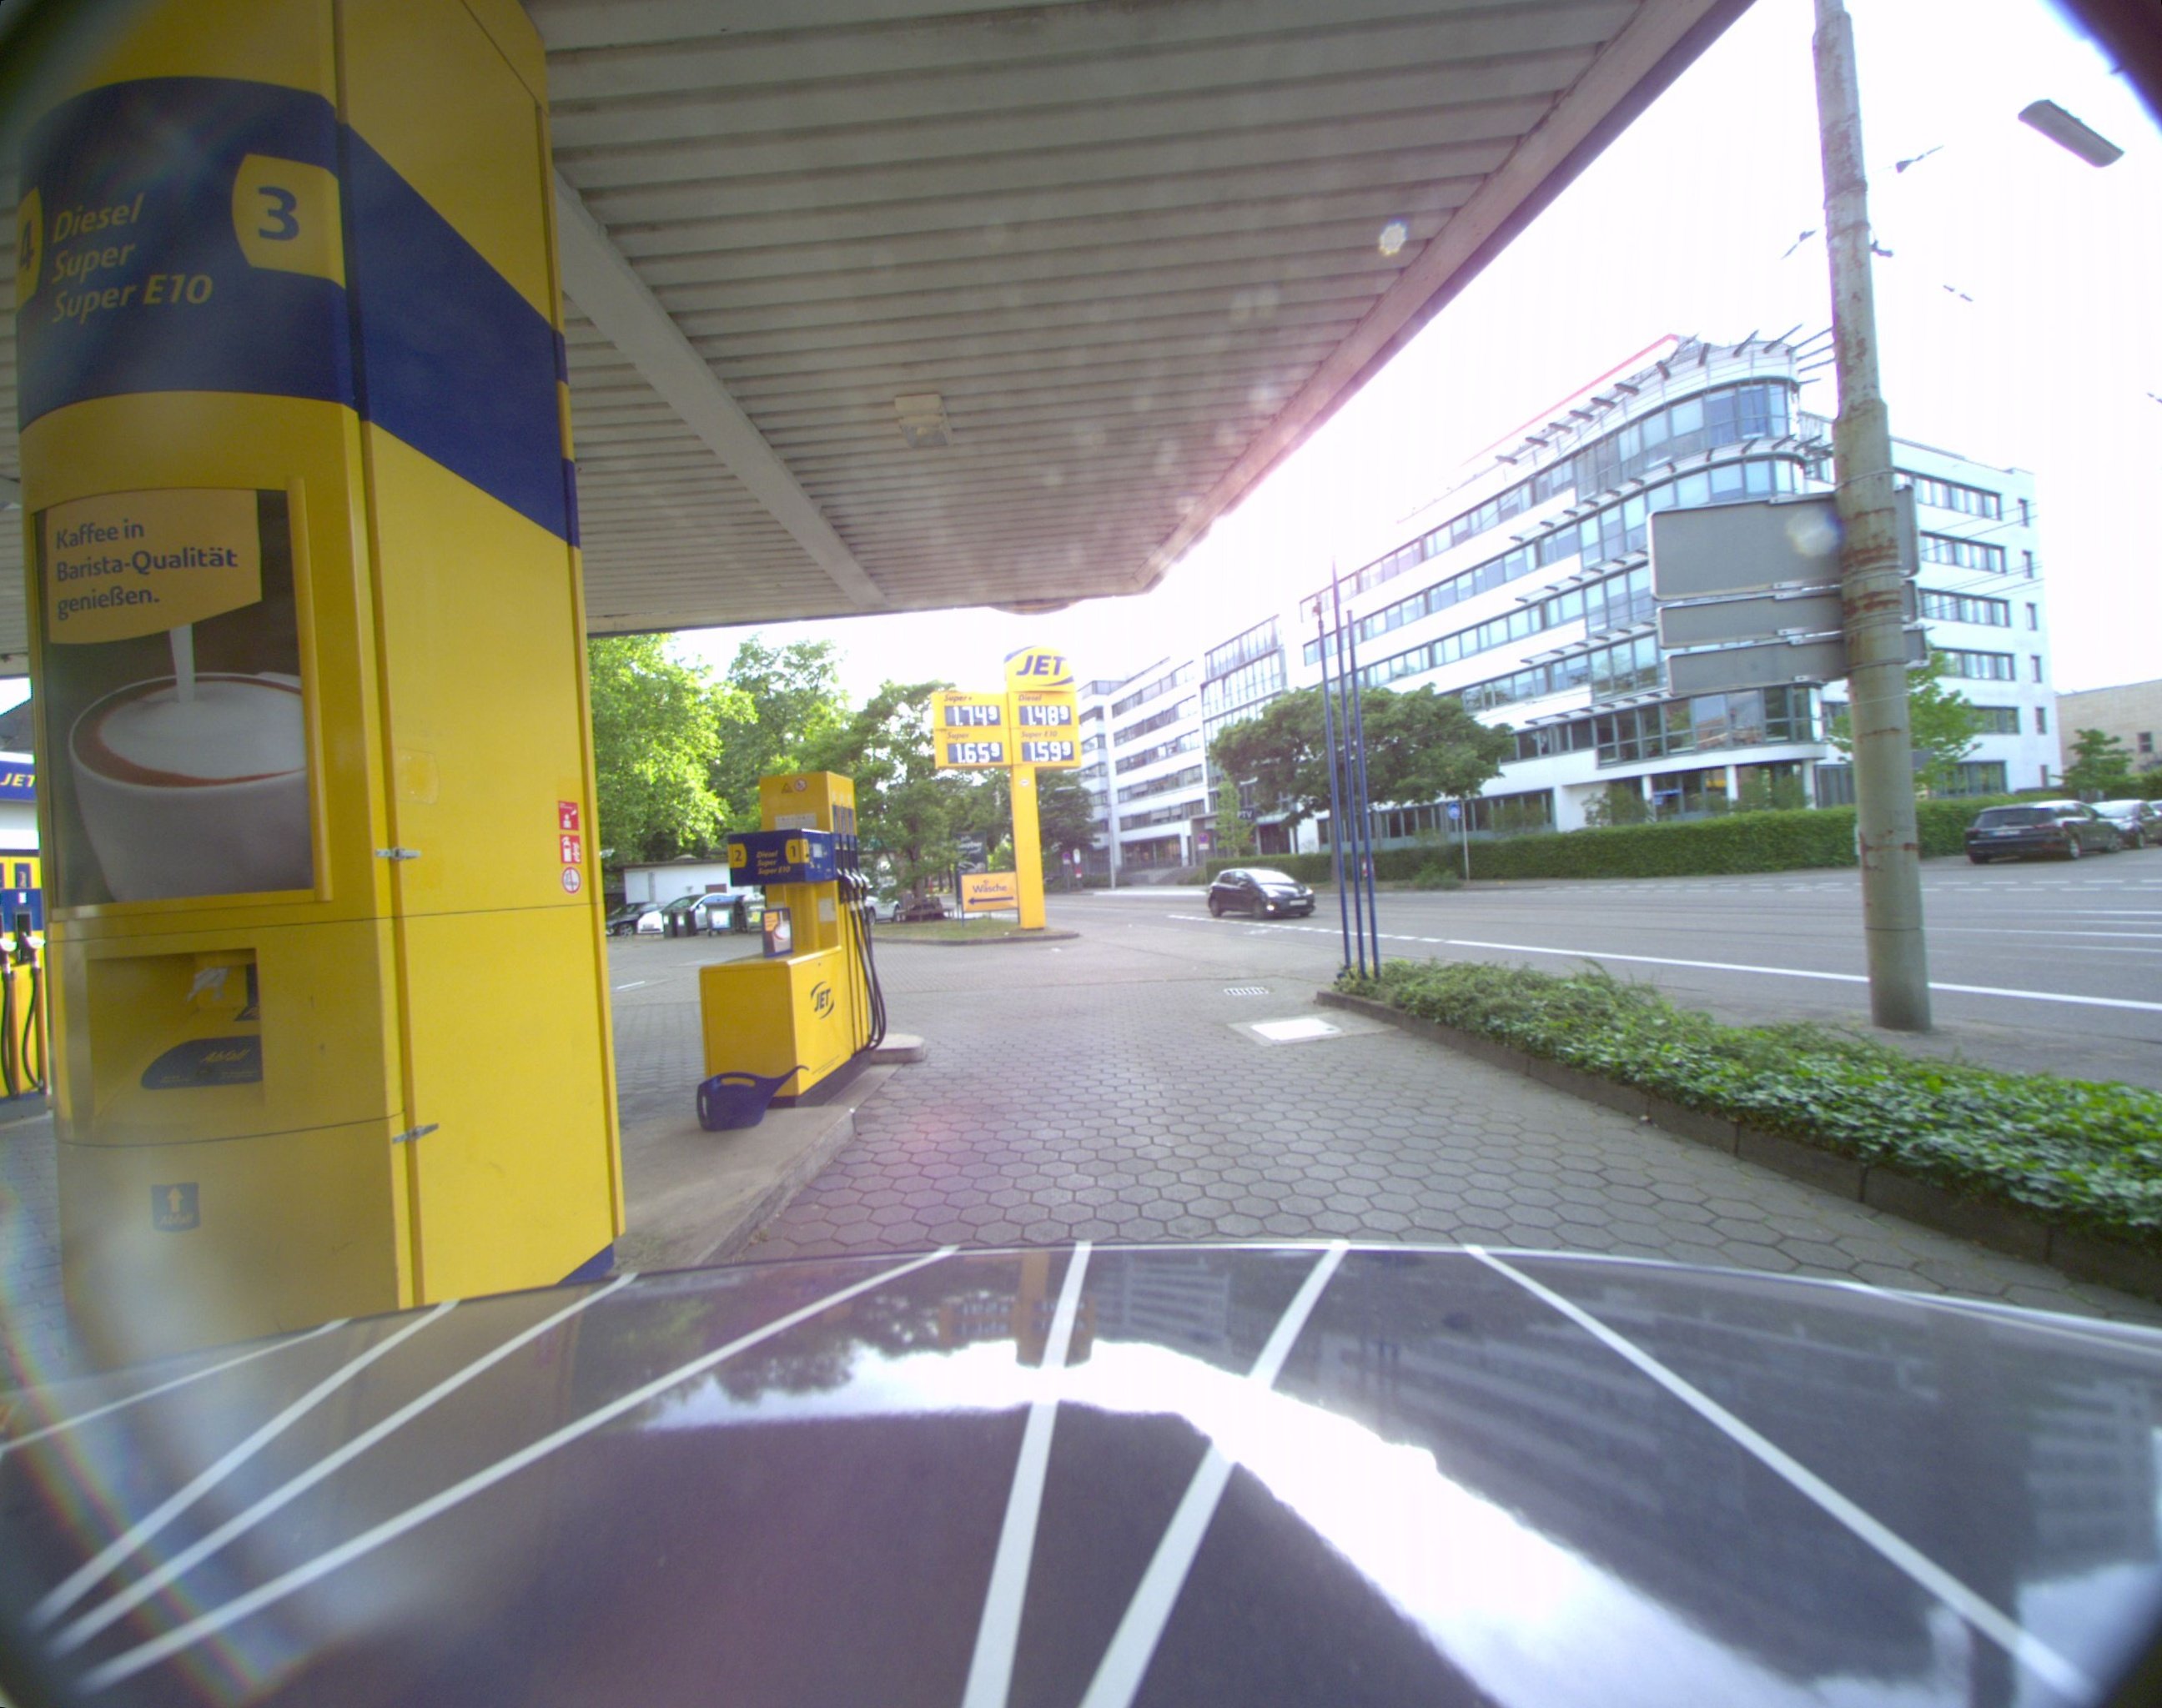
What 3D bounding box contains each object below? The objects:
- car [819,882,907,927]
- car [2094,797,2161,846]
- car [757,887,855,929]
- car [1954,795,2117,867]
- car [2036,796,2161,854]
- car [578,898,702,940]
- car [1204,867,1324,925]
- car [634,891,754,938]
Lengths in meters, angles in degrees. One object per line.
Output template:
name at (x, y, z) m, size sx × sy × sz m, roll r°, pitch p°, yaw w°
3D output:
car at (-8.638, 1.999, 30.507) m, size 1.772 × 1.591 × 4.398 m, roll -4°, pitch -3°, yaw 6°
car at (37.125, -1.197, 26.149) m, size 4.296 × 1.509 × 1.945 m, roll -4°, pitch -1°, yaw -27°
car at (-11.657, 2.264, 32.498) m, size 1.771 × 1.591 × 4.400 m, roll -4°, pitch -4°, yaw 13°
car at (27.272, -0.664, 21.695) m, size 4.296 × 1.681 × 2.010 m, roll -4°, pitch -1°, yaw -27°
car at (32.543, -0.941, 24.097) m, size 4.296 × 1.530 × 1.945 m, roll -4°, pitch -1°, yaw -27°
car at (-17.796, 2.587, 30.913) m, size 1.771 × 1.367 × 4.398 m, roll -2°, pitch -1°, yaw 14°
car at (5.384, 1.227, 22.884) m, size 1.691 × 1.463 × 3.807 m, roll -4°, pitch -1°, yaw -18°
car at (-15.294, 2.362, 30.319) m, size 1.771 × 1.591 × 4.398 m, roll -2°, pitch -1°, yaw 14°
